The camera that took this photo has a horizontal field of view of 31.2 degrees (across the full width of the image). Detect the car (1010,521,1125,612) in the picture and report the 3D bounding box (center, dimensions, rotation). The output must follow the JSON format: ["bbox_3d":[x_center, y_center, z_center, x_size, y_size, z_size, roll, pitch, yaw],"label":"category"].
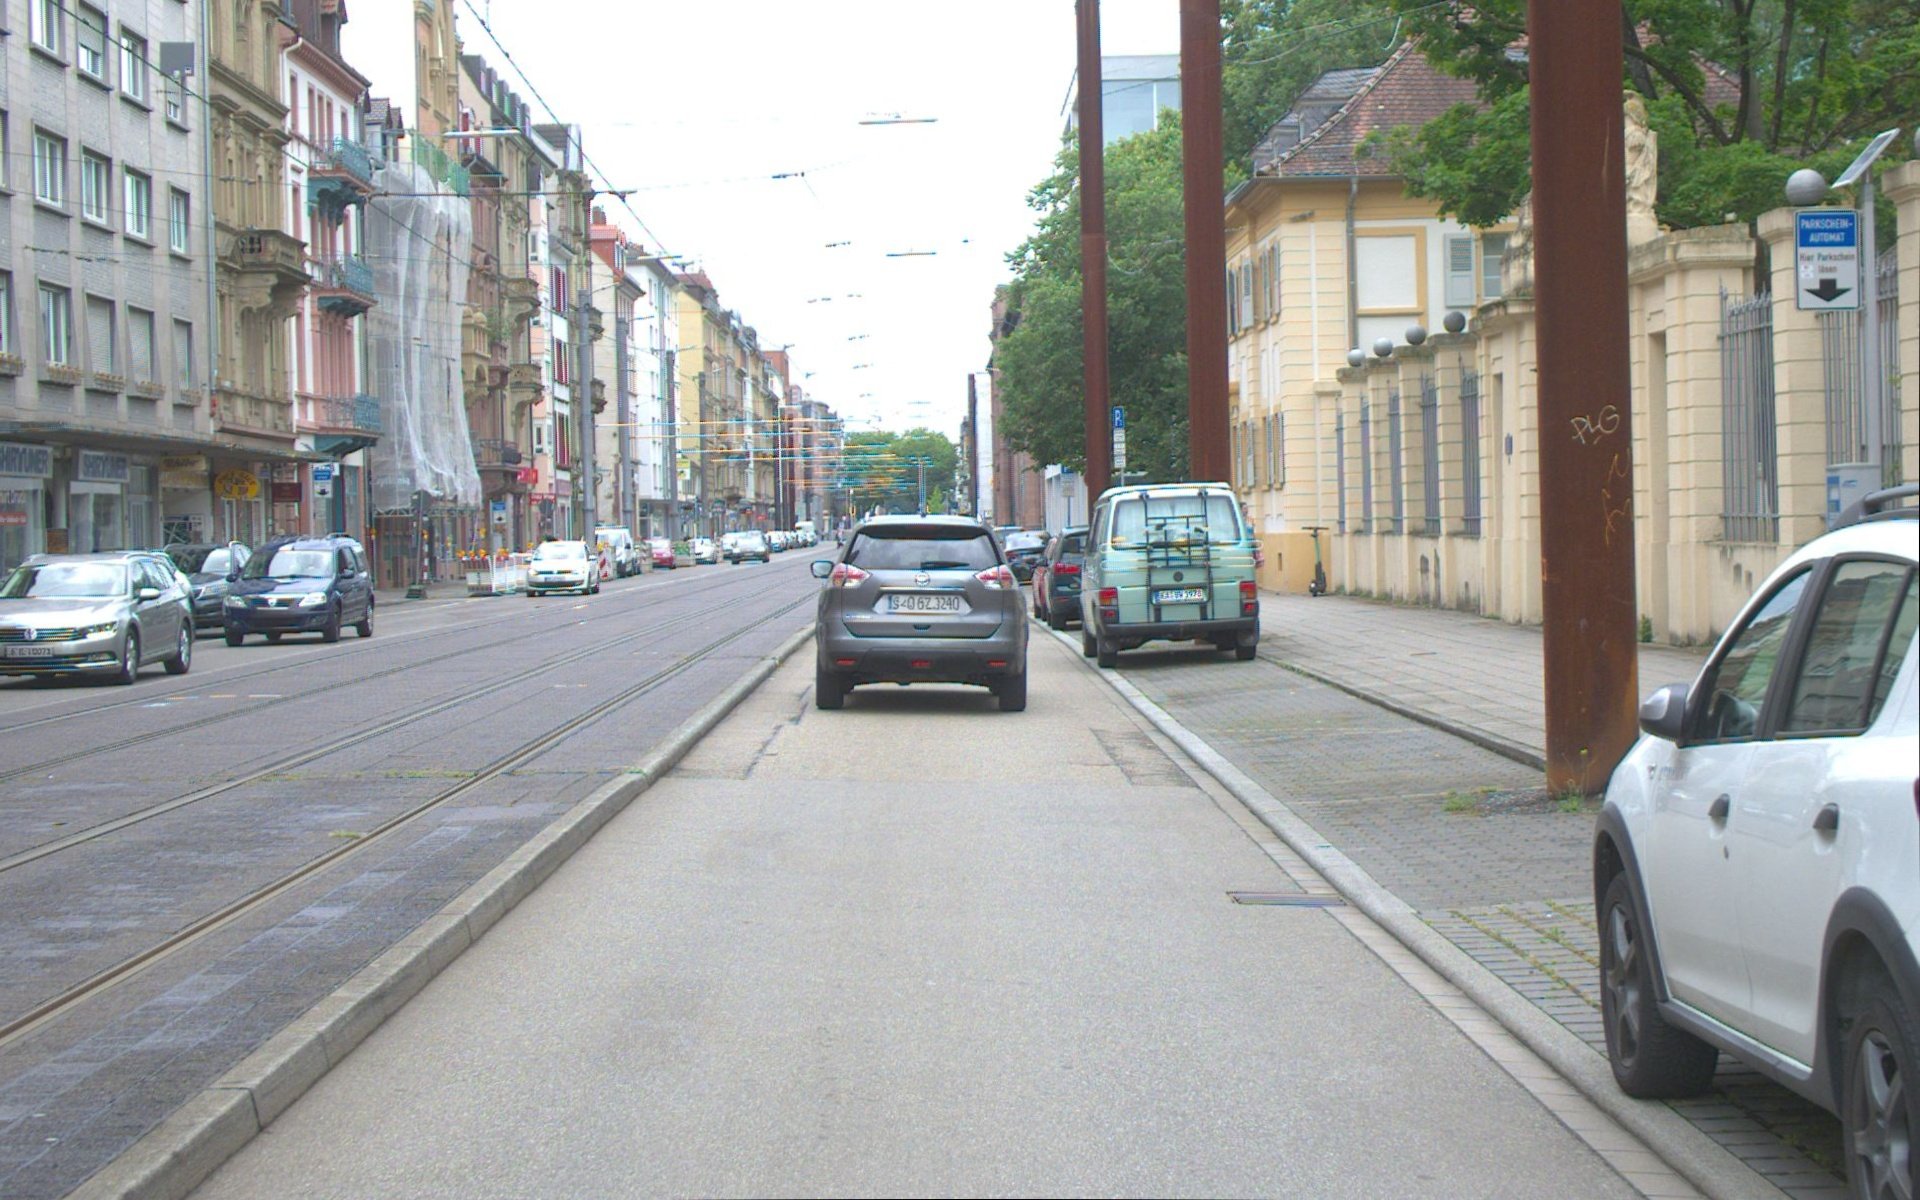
[{"bbox_3d":[1.853,-0.620,60.340,1.749,1.436,3.924,-4,1,-1],"label":"car"}]

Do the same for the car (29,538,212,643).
[{"bbox_3d":[-12.943,-0.177,53.243,1.776,1.499,4.402,-1,1,-1],"label":"car"}]

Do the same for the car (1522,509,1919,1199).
[{"bbox_3d":[2.575,0.584,7.966,1.755,1.569,3.931,-3,1,-1],"label":"car"}]

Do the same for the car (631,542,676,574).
[{"bbox_3d":[-14.198,-1.935,159.386,1.993,1.459,4.001,-1,0,-4],"label":"car"}]

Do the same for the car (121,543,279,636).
[{"bbox_3d":[-13.118,-0.210,59.552,1.776,1.499,4.402,-1,1,-1],"label":"car"}]

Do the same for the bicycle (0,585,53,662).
[{"bbox_3d":[-13.082,0.325,45.601,1.965,0.997,0.463,-1,1,-8],"label":"bicycle"}]

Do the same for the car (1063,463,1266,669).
[{"bbox_3d":[2.290,-0.426,39.751,1.851,2.107,4.985,-4,1,-1],"label":"car"}]

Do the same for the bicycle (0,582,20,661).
[{"bbox_3d":[-12.942,0.291,43.585,1.921,0.997,0.463,-1,1,-8],"label":"bicycle"}]

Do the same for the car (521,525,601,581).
[{"bbox_3d":[-10.602,-1.259,91.564,1.687,1.415,4.135,-1,1,-1],"label":"car"}]

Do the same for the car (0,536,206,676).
[{"bbox_3d":[-9.942,0.024,39.002,1.759,1.444,4.615,-1,1,0],"label":"car"}]

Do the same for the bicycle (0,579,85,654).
[{"bbox_3d":[-13.126,0.237,47.436,1.965,0.997,0.463,-1,1,-8],"label":"bicycle"}]

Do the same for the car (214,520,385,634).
[{"bbox_3d":[-10.195,-0.396,53.358,1.759,1.666,4.615,-1,1,0],"label":"car"}]

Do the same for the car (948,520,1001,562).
[{"bbox_3d":[0.484,-2.091,121.391,1.776,1.415,4.135,-1,1,-1],"label":"car"}]

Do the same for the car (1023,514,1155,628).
[{"bbox_3d":[1.952,-0.477,53.023,1.749,1.590,3.924,-4,1,-1],"label":"car"}]

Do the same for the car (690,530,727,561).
[{"bbox_3d":[-13.878,-3.019,189.874,1.993,1.629,4.001,-1,0,-4],"label":"car"}]

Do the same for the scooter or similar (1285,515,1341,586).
[{"bbox_3d":[6.299,-0.874,61.416,0.747,1.246,1.919,-1,0,-1],"label":"scooter or similar"}]

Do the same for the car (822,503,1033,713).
[{"bbox_3d":[-0.296,0.021,30.694,1.749,1.750,3.924,0,1,-1],"label":"car"}]

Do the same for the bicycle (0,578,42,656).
[{"bbox_3d":[-13.068,0.237,45.021,1.965,0.997,0.463,-1,1,-8],"label":"bicycle"}]

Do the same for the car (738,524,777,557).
[{"bbox_3d":[-10.499,-3.074,178.279,1.993,1.629,4.001,-1,0,-4],"label":"car"}]

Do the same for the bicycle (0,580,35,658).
[{"bbox_3d":[-12.980,0.262,44.343,1.965,0.997,0.463,-1,1,-8],"label":"bicycle"}]

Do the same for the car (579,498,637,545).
[{"bbox_3d":[-13.333,-2.973,130.423,1.993,1.700,4.001,-1,0,-4],"label":"car"}]
